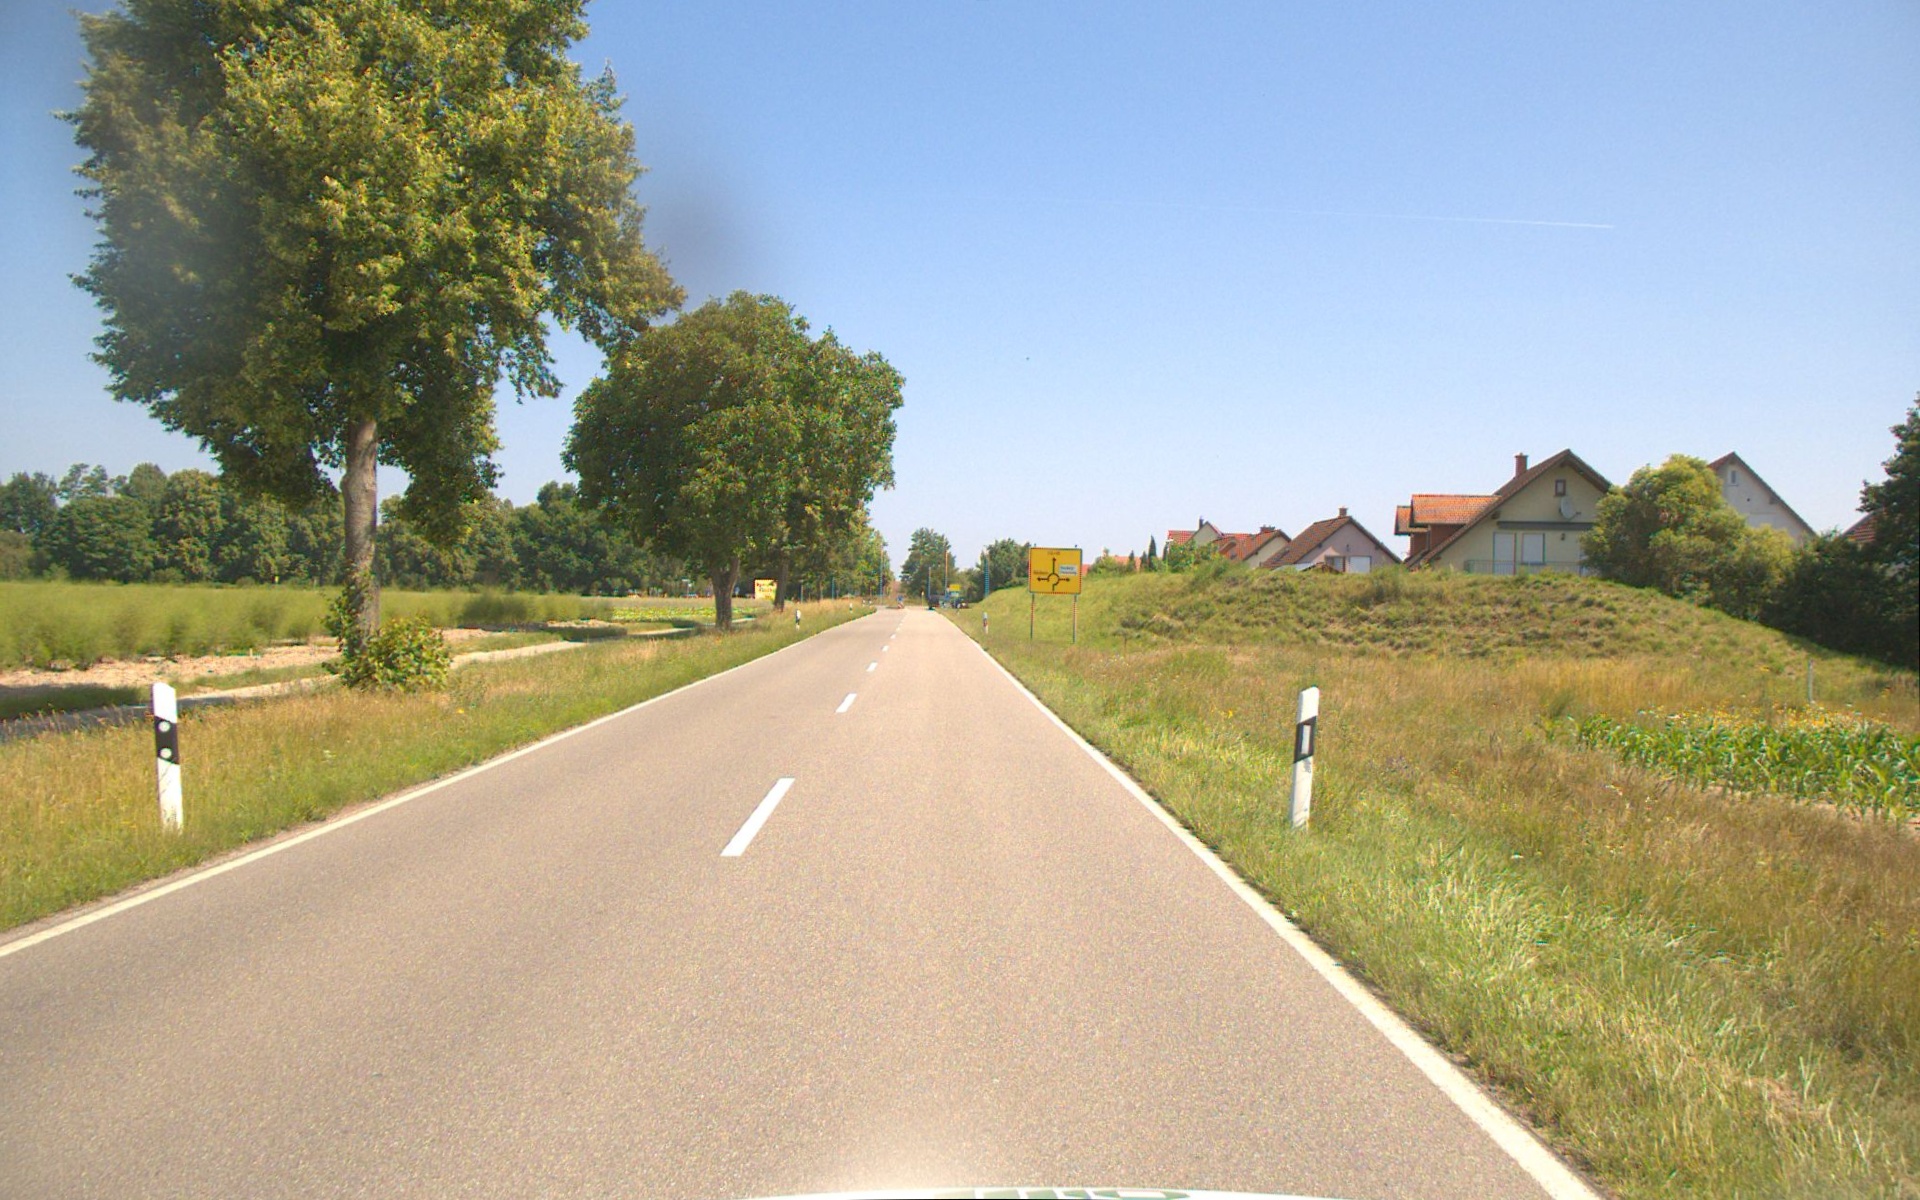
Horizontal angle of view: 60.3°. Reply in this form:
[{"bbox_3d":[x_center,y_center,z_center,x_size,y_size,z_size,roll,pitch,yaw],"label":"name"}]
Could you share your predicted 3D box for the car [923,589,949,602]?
[{"bbox_3d":[-2.923,-0.537,204.300,1.802,1.563,3.606,1,0,26],"label":"car"}]
